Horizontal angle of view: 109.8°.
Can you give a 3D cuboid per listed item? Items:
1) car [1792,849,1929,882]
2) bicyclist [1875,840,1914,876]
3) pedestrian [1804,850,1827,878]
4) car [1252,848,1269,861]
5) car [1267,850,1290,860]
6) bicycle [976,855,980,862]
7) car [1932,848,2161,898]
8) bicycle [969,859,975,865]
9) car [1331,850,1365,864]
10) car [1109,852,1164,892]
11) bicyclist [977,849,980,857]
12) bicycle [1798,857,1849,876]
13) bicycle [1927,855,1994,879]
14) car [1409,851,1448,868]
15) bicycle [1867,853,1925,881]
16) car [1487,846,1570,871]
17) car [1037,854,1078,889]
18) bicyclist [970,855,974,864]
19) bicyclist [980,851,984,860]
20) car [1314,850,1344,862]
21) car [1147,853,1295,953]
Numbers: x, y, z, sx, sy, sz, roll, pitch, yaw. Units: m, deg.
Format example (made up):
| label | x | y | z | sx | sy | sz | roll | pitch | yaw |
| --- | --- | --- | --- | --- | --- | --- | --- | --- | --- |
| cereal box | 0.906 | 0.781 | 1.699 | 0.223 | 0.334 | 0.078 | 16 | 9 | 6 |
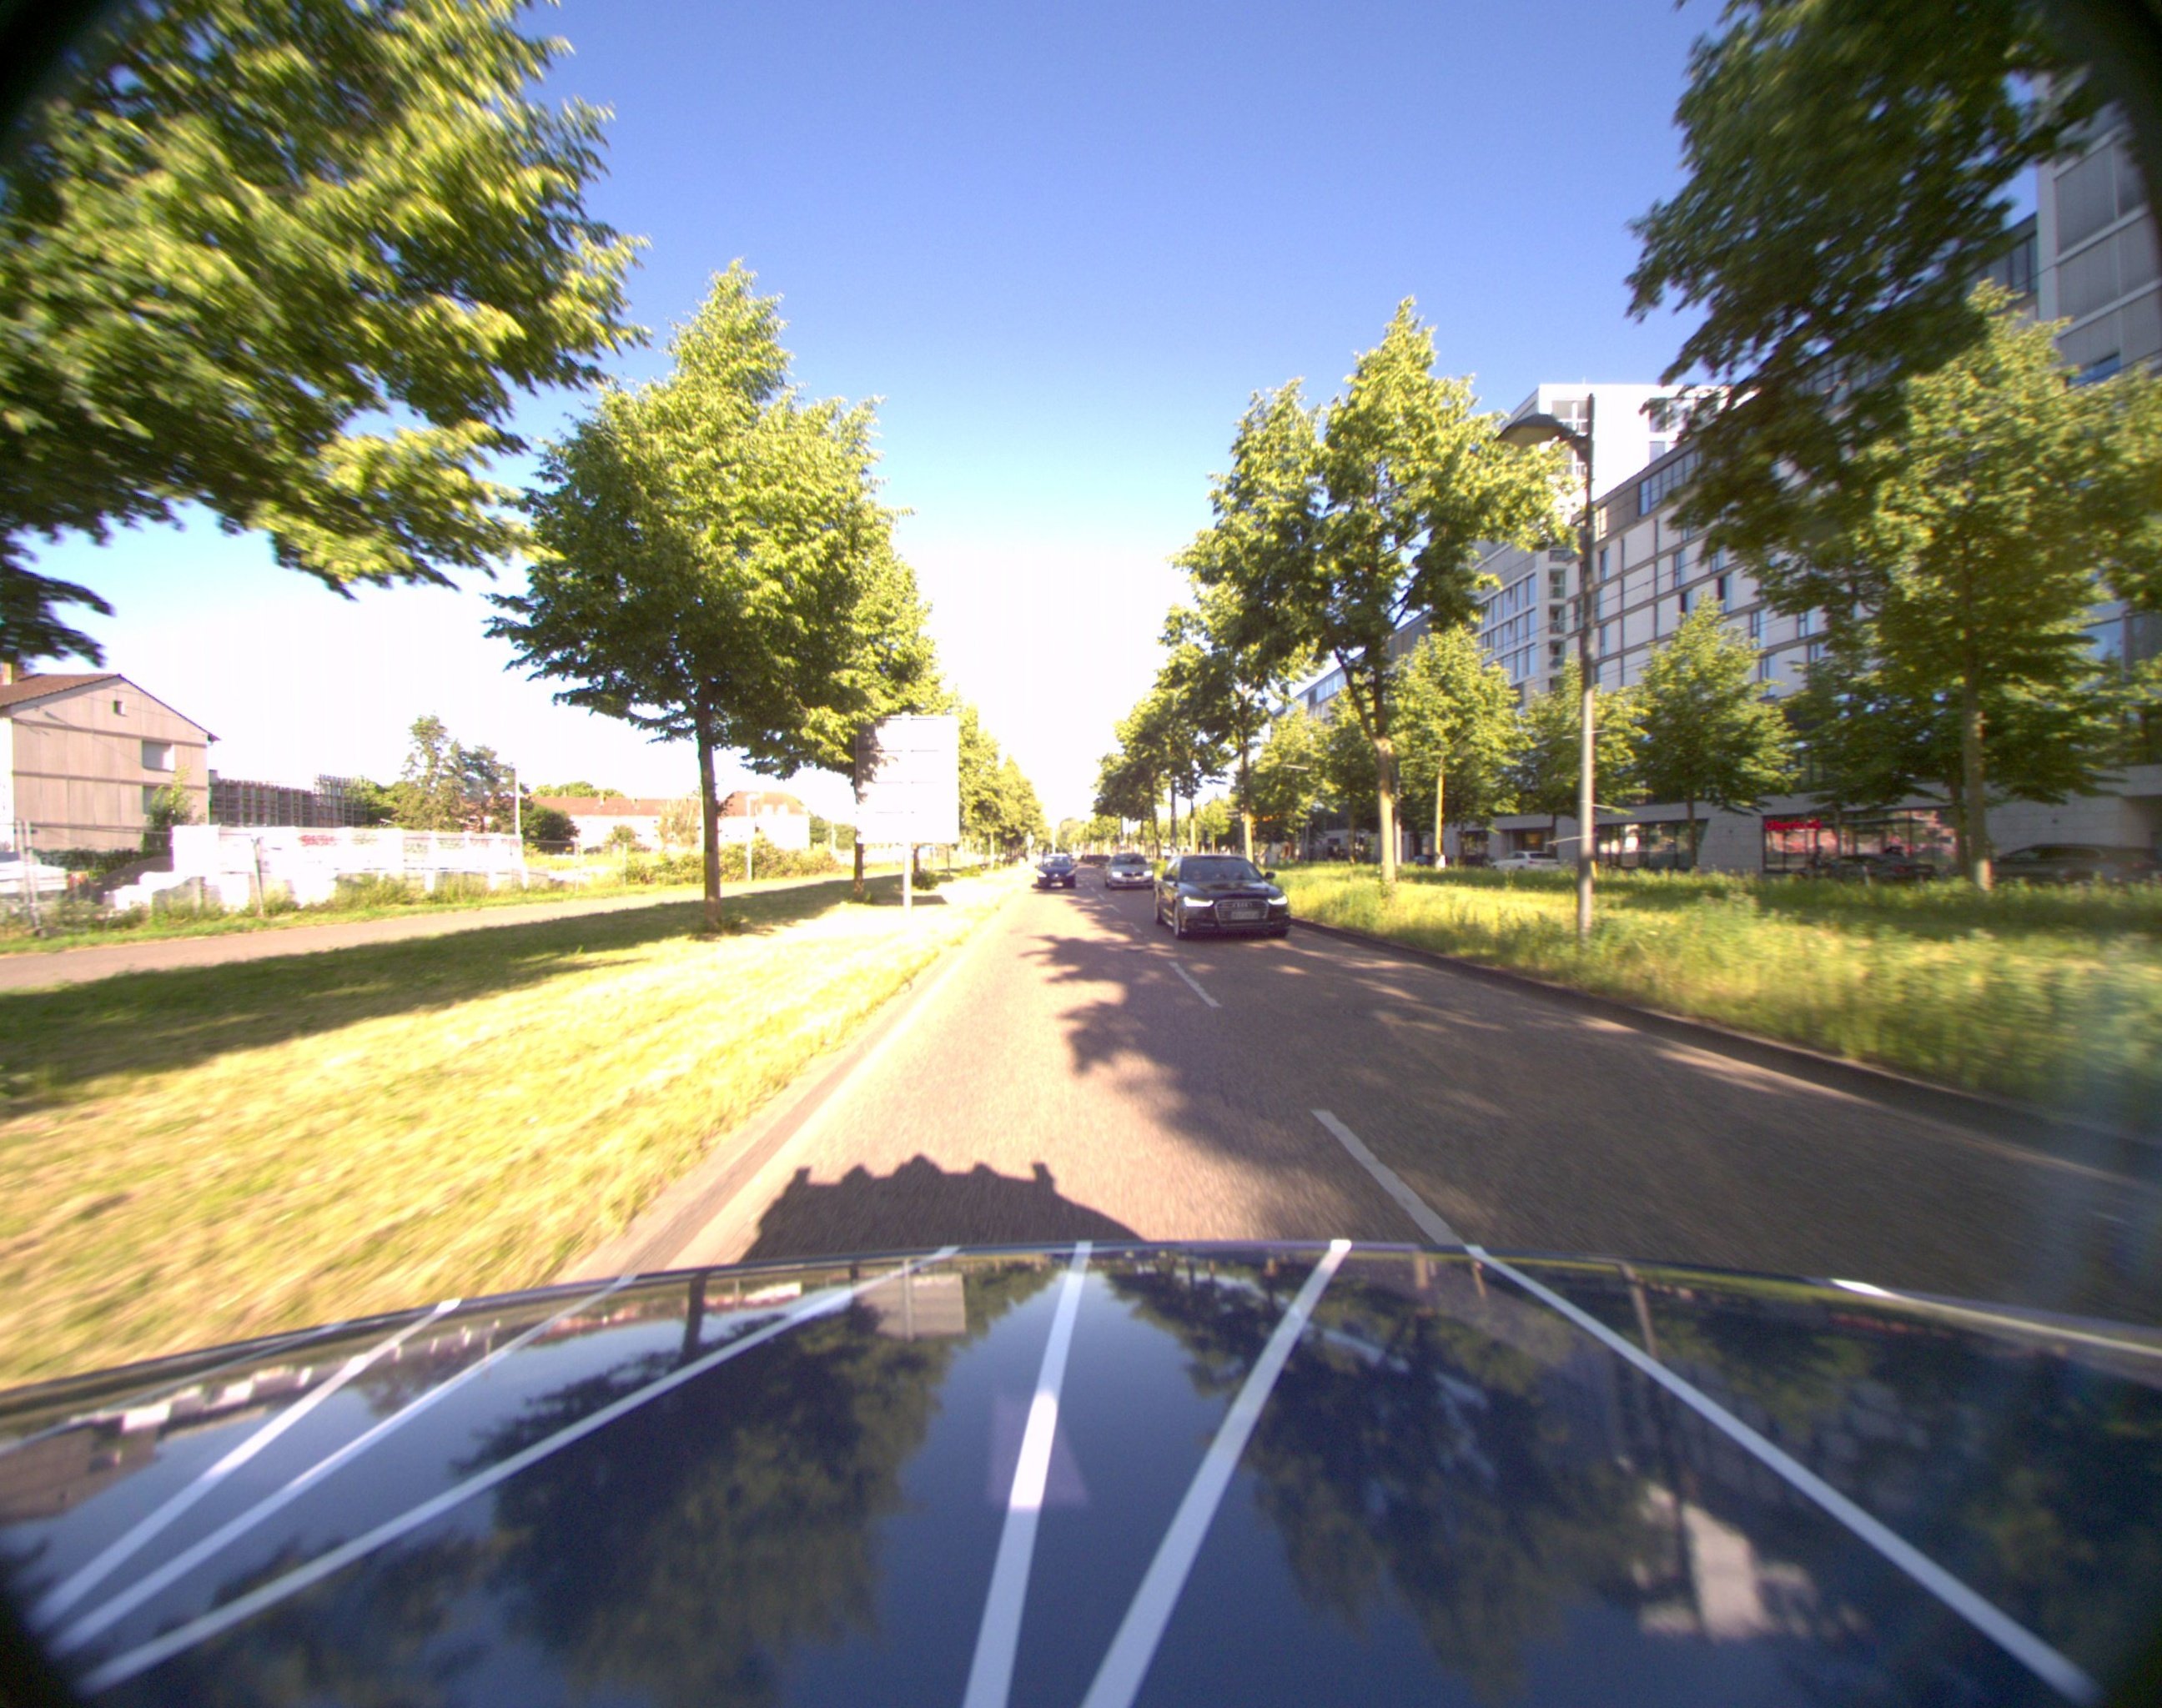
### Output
| label | x | y | z | sx | sy | sz | roll | pitch | yaw |
| --- | --- | --- | --- | --- | --- | --- | --- | --- | --- |
| car | 30.577 | 0.417 | 29.972 | 1.672 | 1.200 | 3.582 | -1 | 0 | -2 |
| bicyclist | 33.485 | 0.155 | 31.278 | 0.722 | 1.455 | 0.832 | -1 | 1 | 0 |
| pedestrian | 36.928 | 0.498 | 38.206 | 0.409 | 1.405 | 0.690 | -1 | 2 | -2 |
| car | 28.296 | 0.082 | 119.833 | 1.804 | 1.915 | 3.998 | -1 | 2 | -1 |
| car | 24.221 | 0.104 | 93.379 | 1.774 | 1.231 | 3.483 | -1 | 0 | -2 |
| bicycle | -17.151 | 0.749 | 127.096 | 0.507 | 1.145 | 1.604 | 1 | 0 | -3 |
| car | 30.714 | 0.541 | 24.226 | 1.672 | 1.411 | 4.803 | -1 | 0 | -2 |
| bicycle | -18.213 | 1.340 | 126.888 | 0.657 | 1.006 | 1.820 | -1 | 0 | -1 |
| car | 28.910 | 0.279 | 82.516 | 2.004 | 1.412 | 4.544 | -1 | 0 | -1 |
| car | 2.304 | 0.697 | 32.493 | 1.849 | 1.560 | 4.527 | -1 | 0 | -2 |
| bicyclist | -17.177 | -0.165 | 127.148 | 0.504 | 1.464 | 0.833 | 0 | 1 | -2 |
| bicycle | 37.402 | 0.599 | 38.286 | 0.543 | 0.876 | 2.014 | -1 | 1 | -2 |
| bicycle | 37.620 | 0.557 | 32.539 | 0.543 | 0.966 | 1.982 | -1 | 0 | -2 |
| car | 29.501 | 0.448 | 64.596 | 1.654 | 1.228 | 3.464 | -1 | 2 | -2 |
| bicycle | 33.492 | 0.523 | 31.261 | 0.734 | 1.113 | 1.570 | -1 | 0 | 1 |
| car | 24.166 | 0.271 | 41.216 | 1.802 | 1.284 | 4.310 | 0 | -1 | -2 |
| car | -1.107 | 0.761 | 35.173 | 1.763 | 1.506 | 3.947 | -1 | 0 | -2 |
| bicyclist | -18.219 | 0.867 | 126.946 | 0.654 | 1.544 | 0.794 | -1 | 1 | -1 |
| bicyclist | -18.052 | 0.250 | 138.278 | 0.593 | 1.578 | 0.965 | -1 | 2 | -2 |
| car | 28.917 | 0.217 | 88.675 | 1.963 | 1.412 | 4.544 | -1 | 0 | -1 |
| car | 2.396 | 0.759 | 14.171 | 1.789 | 1.518 | 4.600 | -2 | 0 | -1 |
